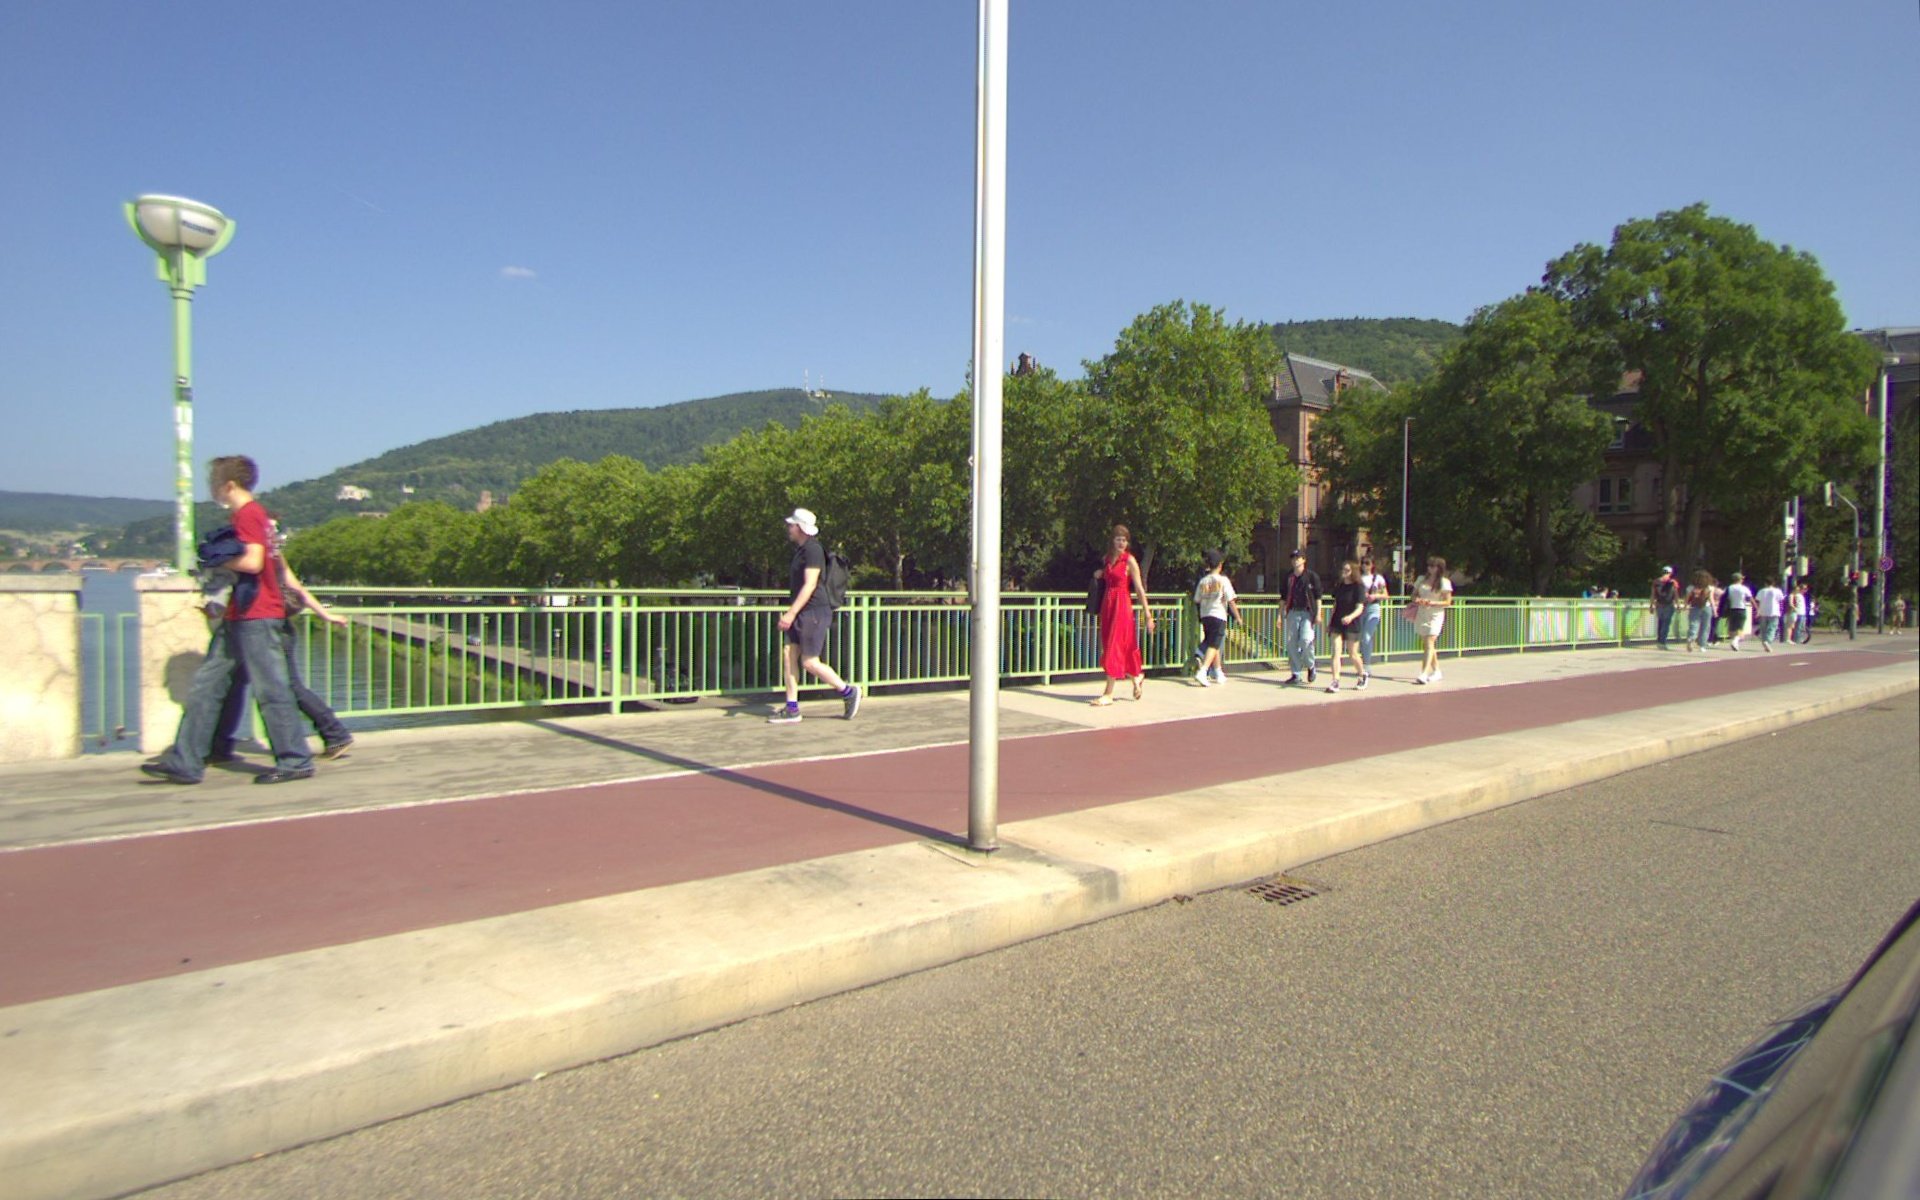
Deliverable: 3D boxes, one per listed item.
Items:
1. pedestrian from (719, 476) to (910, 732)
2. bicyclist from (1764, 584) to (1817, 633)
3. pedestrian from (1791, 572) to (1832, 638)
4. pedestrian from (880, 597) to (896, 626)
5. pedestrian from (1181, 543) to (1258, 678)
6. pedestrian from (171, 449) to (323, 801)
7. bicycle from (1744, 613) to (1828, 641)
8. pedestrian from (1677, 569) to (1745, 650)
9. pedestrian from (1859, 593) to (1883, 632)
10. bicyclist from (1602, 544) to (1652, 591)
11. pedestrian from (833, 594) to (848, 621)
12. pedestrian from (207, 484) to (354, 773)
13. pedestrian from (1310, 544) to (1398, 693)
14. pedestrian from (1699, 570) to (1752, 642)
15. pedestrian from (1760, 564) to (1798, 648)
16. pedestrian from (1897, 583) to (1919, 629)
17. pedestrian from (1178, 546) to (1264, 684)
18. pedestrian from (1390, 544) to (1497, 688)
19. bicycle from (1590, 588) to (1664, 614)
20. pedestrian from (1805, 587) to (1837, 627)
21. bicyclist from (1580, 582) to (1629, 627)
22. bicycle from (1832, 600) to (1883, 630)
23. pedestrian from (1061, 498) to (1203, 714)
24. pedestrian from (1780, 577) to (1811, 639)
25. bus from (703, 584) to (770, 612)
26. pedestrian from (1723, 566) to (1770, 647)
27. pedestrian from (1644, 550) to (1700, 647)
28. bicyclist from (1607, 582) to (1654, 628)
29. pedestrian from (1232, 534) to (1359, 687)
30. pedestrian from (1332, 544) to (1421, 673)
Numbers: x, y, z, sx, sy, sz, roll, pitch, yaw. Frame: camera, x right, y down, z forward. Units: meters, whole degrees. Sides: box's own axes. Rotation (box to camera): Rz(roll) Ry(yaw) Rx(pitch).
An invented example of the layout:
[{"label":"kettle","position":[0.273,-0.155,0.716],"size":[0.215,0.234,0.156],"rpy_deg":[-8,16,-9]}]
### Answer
[{"label":"pedestrian","position":[-1.198,0.006,8.369],"size":[1.233,1.918,0.986],"rpy_deg":[-1,2,-43]},{"label":"bicyclist","position":[25.850,0.267,31.512],"size":[0.785,1.493,1.084],"rpy_deg":[1,-1,-33]},{"label":"pedestrian","position":[24.929,0.144,29.623],"size":[0.632,1.879,0.776],"rpy_deg":[1,0,-34]},{"label":"pedestrian","position":[-4.558,0.731,63.938],"size":[0.665,1.798,0.741],"rpy_deg":[1,0,-43]},{"label":"pedestrian","position":[3.278,0.118,12.802],"size":[0.679,1.652,0.651],"rpy_deg":[0,1,-37]},{"label":"pedestrian","position":[-3.984,0.119,5.656],"size":[0.622,1.816,0.586],"rpy_deg":[-1,1,-43]},{"label":"bicycle","position":[25.729,0.831,31.554],"size":[0.554,0.837,1.946],"rpy_deg":[1,0,-33]},{"label":"pedestrian","position":[15.805,0.175,21.301],"size":[0.906,1.635,0.986],"rpy_deg":[-1,2,-43]},{"label":"pedestrian","position":[41.775,0.565,46.426],"size":[0.877,1.731,0.675],"rpy_deg":[0,2,-41]},{"label":"bicyclist","position":[21.774,-1.034,33.034],"size":[0.910,1.493,1.084],"rpy_deg":[1,-1,-33]},{"label":"pedestrian","position":[-8.147,0.497,69.145],"size":[0.665,1.798,0.741],"rpy_deg":[1,0,-43]},{"label":"pedestrian","position":[-4.208,0.154,6.270],"size":[0.688,1.670,0.523],"rpy_deg":[-1,1,-42]},{"label":"pedestrian","position":[4.637,0.192,11.898],"size":[0.854,1.670,0.655],"rpy_deg":[-1,1,-43]},{"label":"pedestrian","position":[18.199,0.126,24.073],"size":[0.933,1.655,0.800],"rpy_deg":[0,1,-41]},{"label":"pedestrian","position":[18.048,0.122,22.291],"size":[0.635,1.821,0.549],"rpy_deg":[-1,1,-43]},{"label":"pedestrian","position":[43.361,0.282,46.142],"size":[1.042,2.038,0.776],"rpy_deg":[0,2,-43]},{"label":"pedestrian","position":[3.099,0.160,12.039],"size":[0.679,1.581,0.652],"rpy_deg":[1,2,-37]},{"label":"pedestrian","position":[6.278,0.174,13.144],"size":[0.914,1.772,0.986],"rpy_deg":[-1,2,-43]},{"label":"bicycle","position":[21.725,0.034,33.002],"size":[0.554,0.837,1.946],"rpy_deg":[1,0,-33]},{"label":"pedestrian","position":[40.536,0.306,47.651],"size":[1.053,1.802,0.693],"rpy_deg":[0,4,37]},{"label":"bicyclist","position":[21.711,0.157,34.102],"size":[0.909,1.493,1.084],"rpy_deg":[1,-1,-29]},{"label":"bicycle","position":[41.789,0.688,47.097],"size":[2.227,1.219,0.805],"rpy_deg":[-3,5,-21]},{"label":"pedestrian","position":[1.677,0.036,9.932],"size":[0.922,1.978,1.017],"rpy_deg":[-1,1,-40]},{"label":"pedestrian","position":[24.317,0.239,29.453],"size":[0.566,1.782,0.536],"rpy_deg":[1,0,-35]},{"label":"bus","position":[-24.604,-0.228,111.089],"size":[3.058,2.818,8.833],"rpy_deg":[0,1,-44]},{"label":"pedestrian","position":[17.355,0.126,22.323],"size":[0.719,1.738,0.696],"rpy_deg":[-1,1,-43]},{"label":"pedestrian","position":[15.404,-0.056,21.883],"size":[0.938,2.038,0.804],"rpy_deg":[-1,1,-43]},{"label":"bicyclist","position":[22.365,0.169,33.772],"size":[0.746,1.493,1.085],"rpy_deg":[1,-1,-18]},{"label":"pedestrian","position":[4.175,0.099,12.579],"size":[1.233,1.791,0.986],"rpy_deg":[0,2,-43]},{"label":"pedestrian","position":[5.710,0.093,13.879],"size":[0.871,1.697,0.834],"rpy_deg":[-1,2,-43]}]
